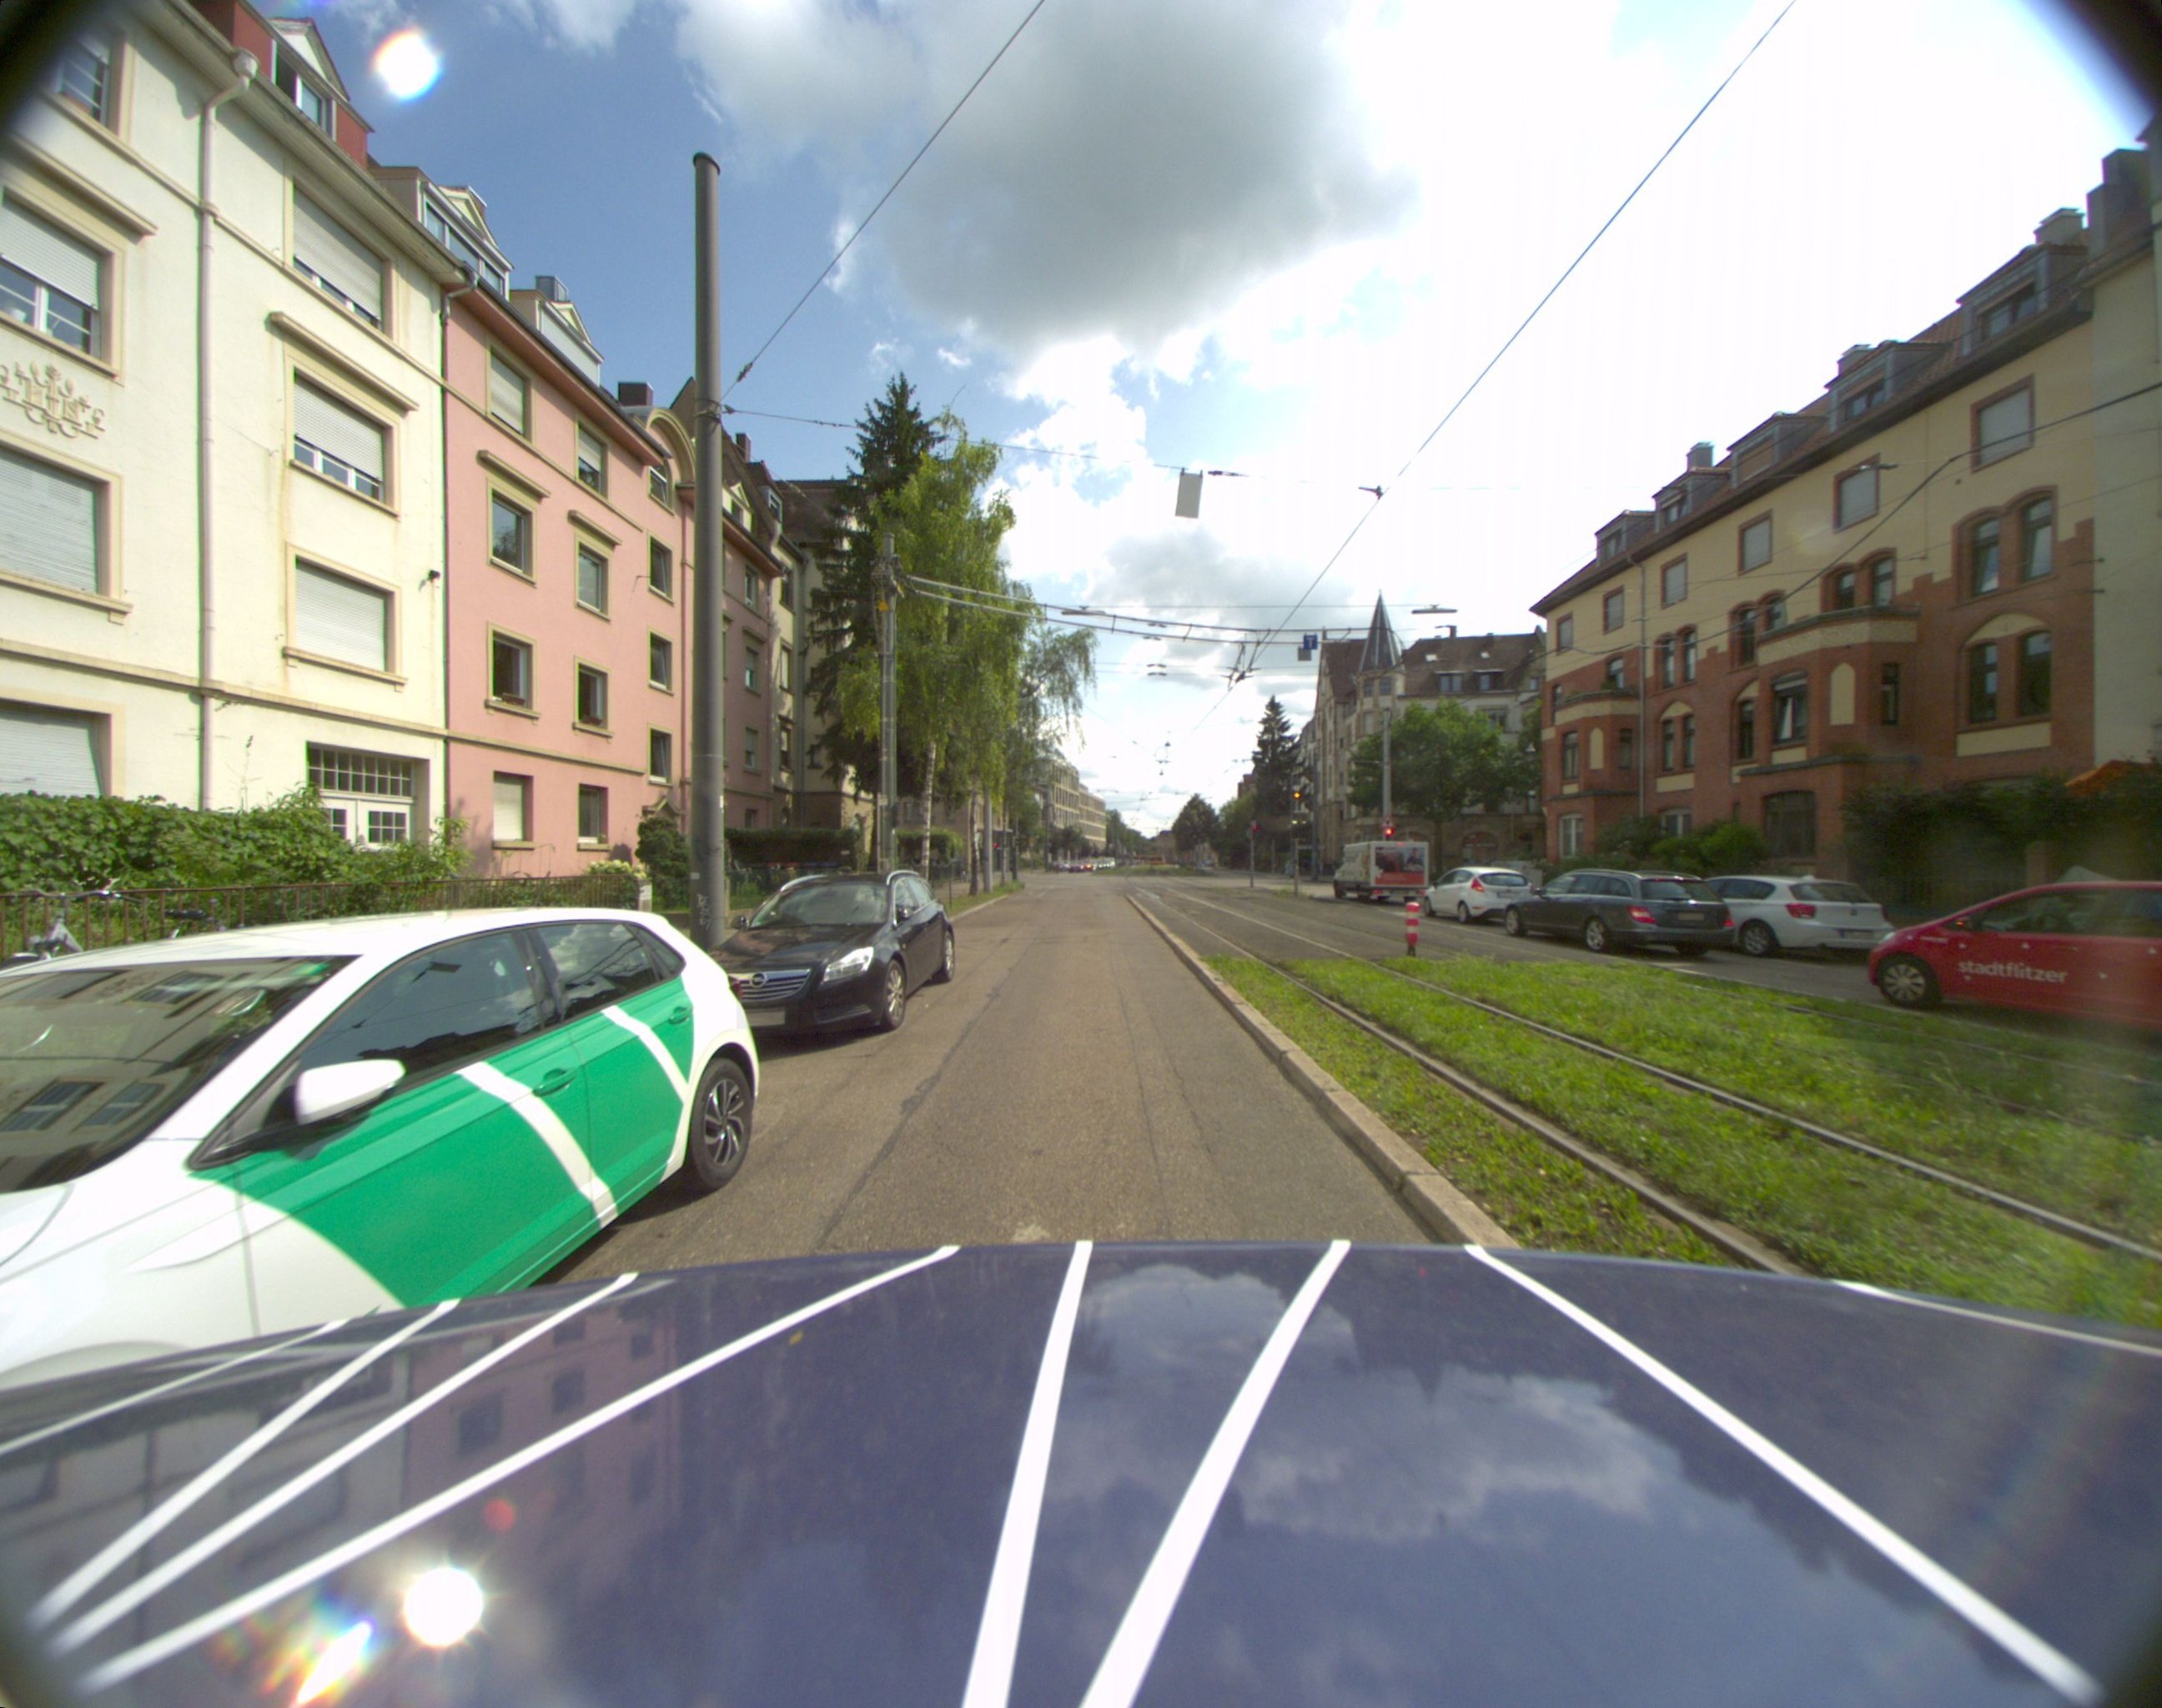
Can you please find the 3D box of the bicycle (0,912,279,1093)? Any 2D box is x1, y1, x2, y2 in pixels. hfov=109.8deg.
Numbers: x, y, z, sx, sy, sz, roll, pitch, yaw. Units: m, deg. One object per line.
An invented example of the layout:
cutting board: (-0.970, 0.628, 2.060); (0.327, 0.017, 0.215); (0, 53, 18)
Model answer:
bicycle: (-7.310, 1.038, 5.568); (0.472, 1.071, 2.183); (0, 0, 3)

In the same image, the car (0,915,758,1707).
car: (-2.600, 1.059, 2.131); (1.623, 1.444, 3.919); (-1, 0, 1)

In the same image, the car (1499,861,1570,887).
car: (33.514, 1.437, 56.241); (3.993, 1.810, 2.002); (1, 0, 10)

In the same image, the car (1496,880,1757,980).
car: (9.788, 1.272, 14.181); (1.759, 1.348, 4.513); (2, 0, 3)

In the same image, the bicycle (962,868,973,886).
bicycle: (-6.782, 1.376, 45.442); (0.350, 1.016, 1.481); (3, 0, 0)

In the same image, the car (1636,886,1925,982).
car: (12.478, 1.339, 13.981); (1.759, 1.348, 3.996); (1, 0, 3)

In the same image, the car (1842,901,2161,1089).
car: (9.632, 1.239, 7.006); (1.582, 1.378, 3.693); (1, 0, 2)

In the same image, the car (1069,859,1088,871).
car: (-0.280, 1.248, 87.625); (1.740, 1.313, 4.002); (-2, 0, 5)

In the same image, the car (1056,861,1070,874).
car: (-2.451, 1.878, 105.231); (1.835, 1.674, 4.000); (0, 0, 1)

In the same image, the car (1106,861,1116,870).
car: (5.502, 2.121, 138.098); (1.645, 1.610, 3.714); (0, 0, 5)

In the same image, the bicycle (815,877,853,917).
bicycle: (-6.996, 1.198, 21.607); (0.420, 1.046, 1.779); (0, 0, 2)

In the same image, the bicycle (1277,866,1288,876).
bicycle: (20.778, 1.743, 78.411); (0.625, 0.966, 2.337); (0, 0, 5)

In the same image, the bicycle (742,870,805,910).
bicycle: (-9.538, 1.105, 23.572); (1.777, 1.213, 0.421); (0, 0, 0)

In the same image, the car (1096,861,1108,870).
car: (3.291, 1.797, 117.422); (1.619, 1.265, 4.002); (-1, 0, 5)

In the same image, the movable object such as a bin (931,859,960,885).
movable object such as a bin: (-7.932, 1.059, 44.552); (1.305, 1.483, 2.000); (0, 0, 2)

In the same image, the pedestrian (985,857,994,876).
pedestrian: (-8.835, 1.212, 73.461); (0.737, 1.832, 0.806); (0, 0, -14)

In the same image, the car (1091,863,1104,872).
car: (2.418, 1.955, 110.707); (1.619, 1.265, 4.002); (-1, 0, 5)

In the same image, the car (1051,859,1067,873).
car: (-2.789, 1.512, 97.809); (1.999, 1.730, 4.000); (0, 0, 0)

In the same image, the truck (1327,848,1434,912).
truck: (11.615, 0.942, 30.108); (2.189, 2.201, 6.615); (1, 0, 6)

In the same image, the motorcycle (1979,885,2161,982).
motorcycle: (14.877, 1.102, 11.024); (0.903, 1.235, 2.294); (0, 0, -5)

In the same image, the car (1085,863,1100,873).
car: (1.581, 1.835, 102.402); (1.619, 1.265, 4.002); (-1, 0, 5)

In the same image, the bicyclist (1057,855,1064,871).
bicyclist: (-2.208, 0.956, 81.303); (0.665, 1.679, 0.857); (1, 0, 7)

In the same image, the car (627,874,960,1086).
car: (-2.632, 1.060, 8.273); (1.796, 1.511, 4.527); (-3, 0, 1)

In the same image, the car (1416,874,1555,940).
car: (10.530, 1.312, 20.158); (1.758, 1.406, 4.135); (2, 0, 6)

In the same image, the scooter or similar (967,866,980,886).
scooter or similar: (-6.548, 1.311, 46.434); (0.521, 1.172, 1.188); (3, 0, 2)

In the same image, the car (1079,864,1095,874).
car: (0.745, 1.845, 94.643); (1.619, 1.265, 4.002); (-1, 0, 5)

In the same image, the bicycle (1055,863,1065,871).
bicycle: (-2.218, 1.395, 81.291); (0.771, 0.885, 1.893); (0, 0, 7)
